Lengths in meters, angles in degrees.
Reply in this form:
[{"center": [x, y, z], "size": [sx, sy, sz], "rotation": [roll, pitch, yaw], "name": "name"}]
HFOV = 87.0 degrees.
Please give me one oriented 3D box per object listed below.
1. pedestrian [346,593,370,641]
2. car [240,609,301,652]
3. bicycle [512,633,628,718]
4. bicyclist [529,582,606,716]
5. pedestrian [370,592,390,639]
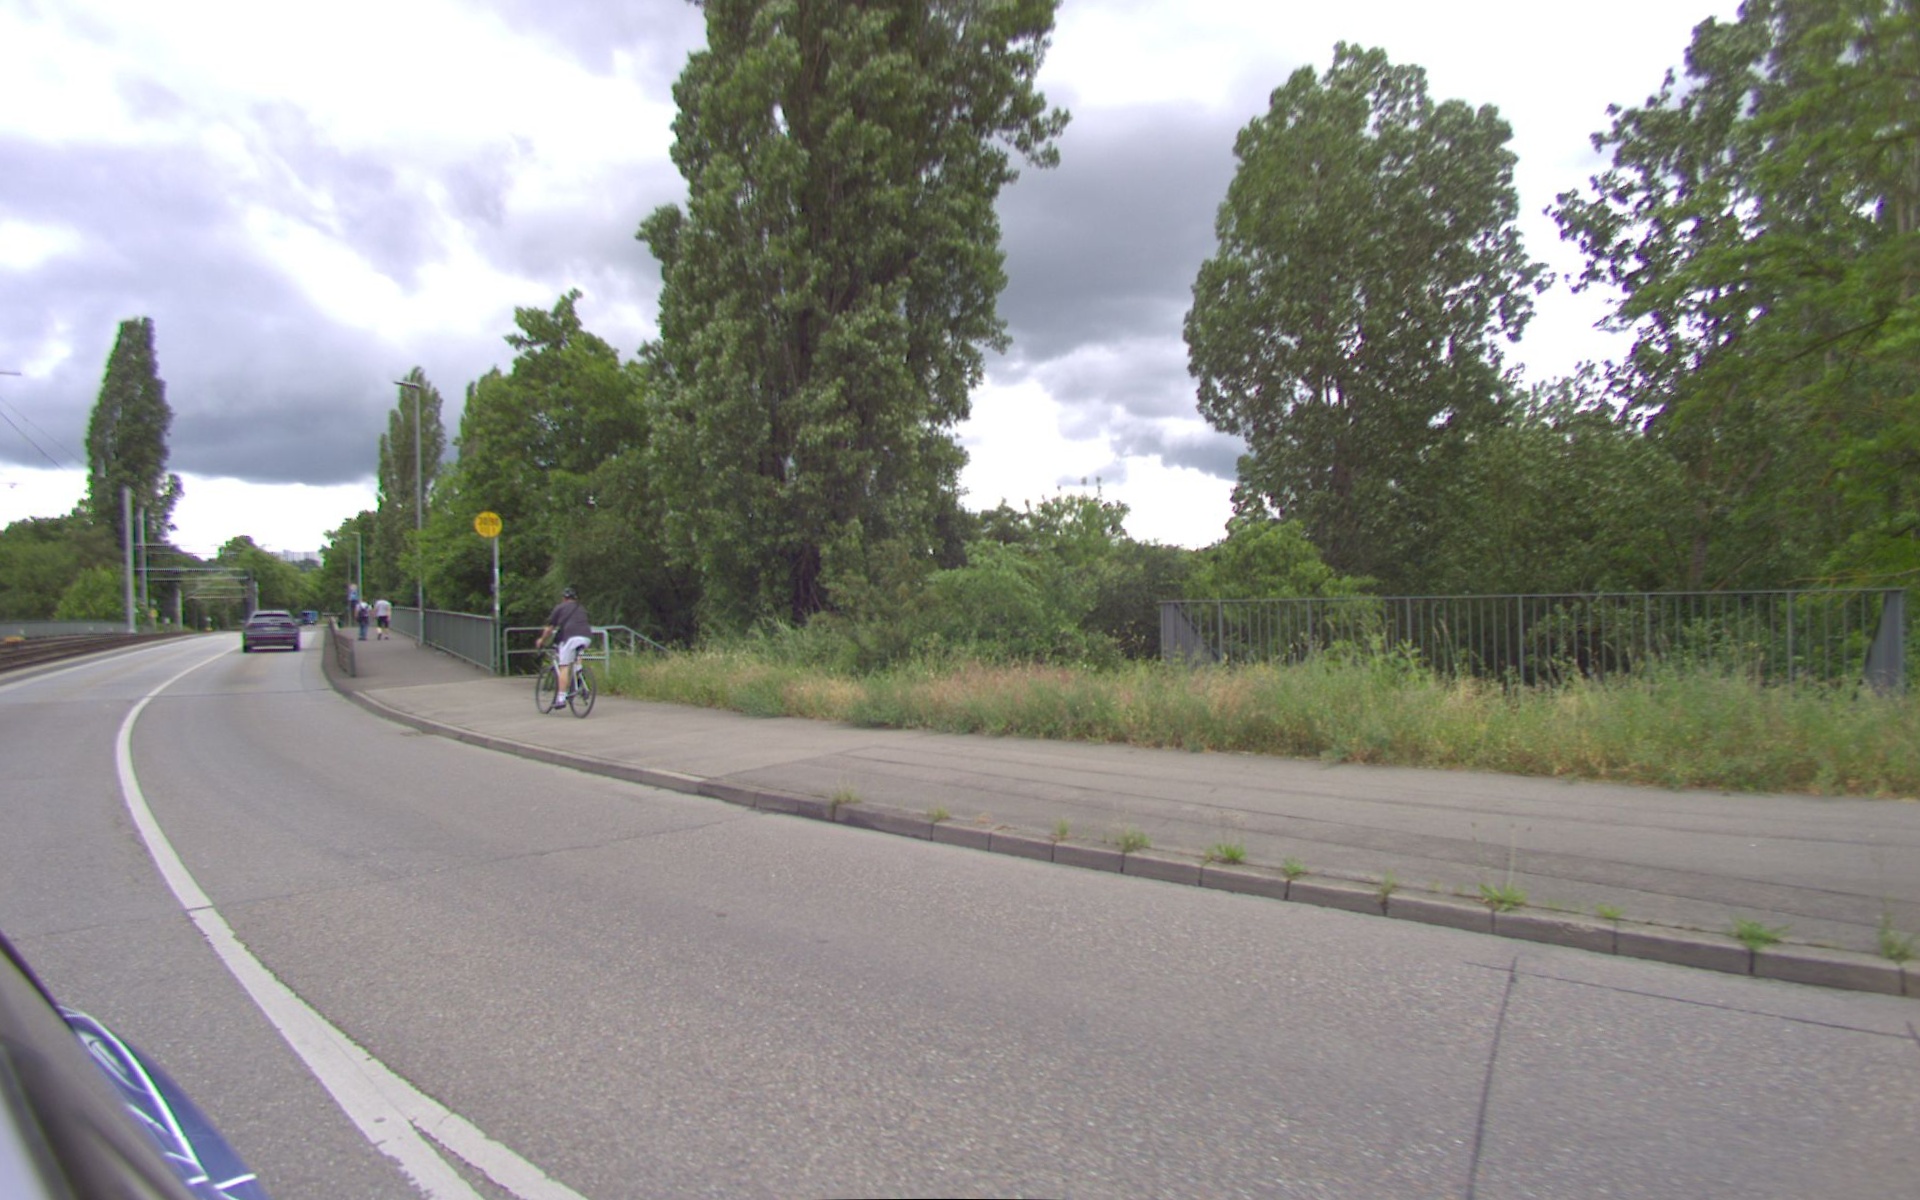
[{"center": [-23.912, 0.661, 40.192], "size": [0.769, 1.841, 0.728], "rotation": [-2, 1, -31], "name": "pedestrian"}, {"center": [-25.458, 1.099, 37.463], "size": [1.692, 1.479, 3.952], "rotation": [1, -1, -32], "name": "car"}, {"center": [-5.582, 1.035, 14.427], "size": [1.881, 1.080, 0.728], "rotation": [-1, 1, 41], "name": "bicycle"}, {"center": [-5.586, 0.664, 14.393], "size": [0.900, 1.822, 0.620], "rotation": [-1, 2, 41], "name": "bicyclist"}, {"center": [-23.068, 0.601, 40.259], "size": [0.596, 1.841, 0.557], "rotation": [-2, 1, -31], "name": "pedestrian"}]
